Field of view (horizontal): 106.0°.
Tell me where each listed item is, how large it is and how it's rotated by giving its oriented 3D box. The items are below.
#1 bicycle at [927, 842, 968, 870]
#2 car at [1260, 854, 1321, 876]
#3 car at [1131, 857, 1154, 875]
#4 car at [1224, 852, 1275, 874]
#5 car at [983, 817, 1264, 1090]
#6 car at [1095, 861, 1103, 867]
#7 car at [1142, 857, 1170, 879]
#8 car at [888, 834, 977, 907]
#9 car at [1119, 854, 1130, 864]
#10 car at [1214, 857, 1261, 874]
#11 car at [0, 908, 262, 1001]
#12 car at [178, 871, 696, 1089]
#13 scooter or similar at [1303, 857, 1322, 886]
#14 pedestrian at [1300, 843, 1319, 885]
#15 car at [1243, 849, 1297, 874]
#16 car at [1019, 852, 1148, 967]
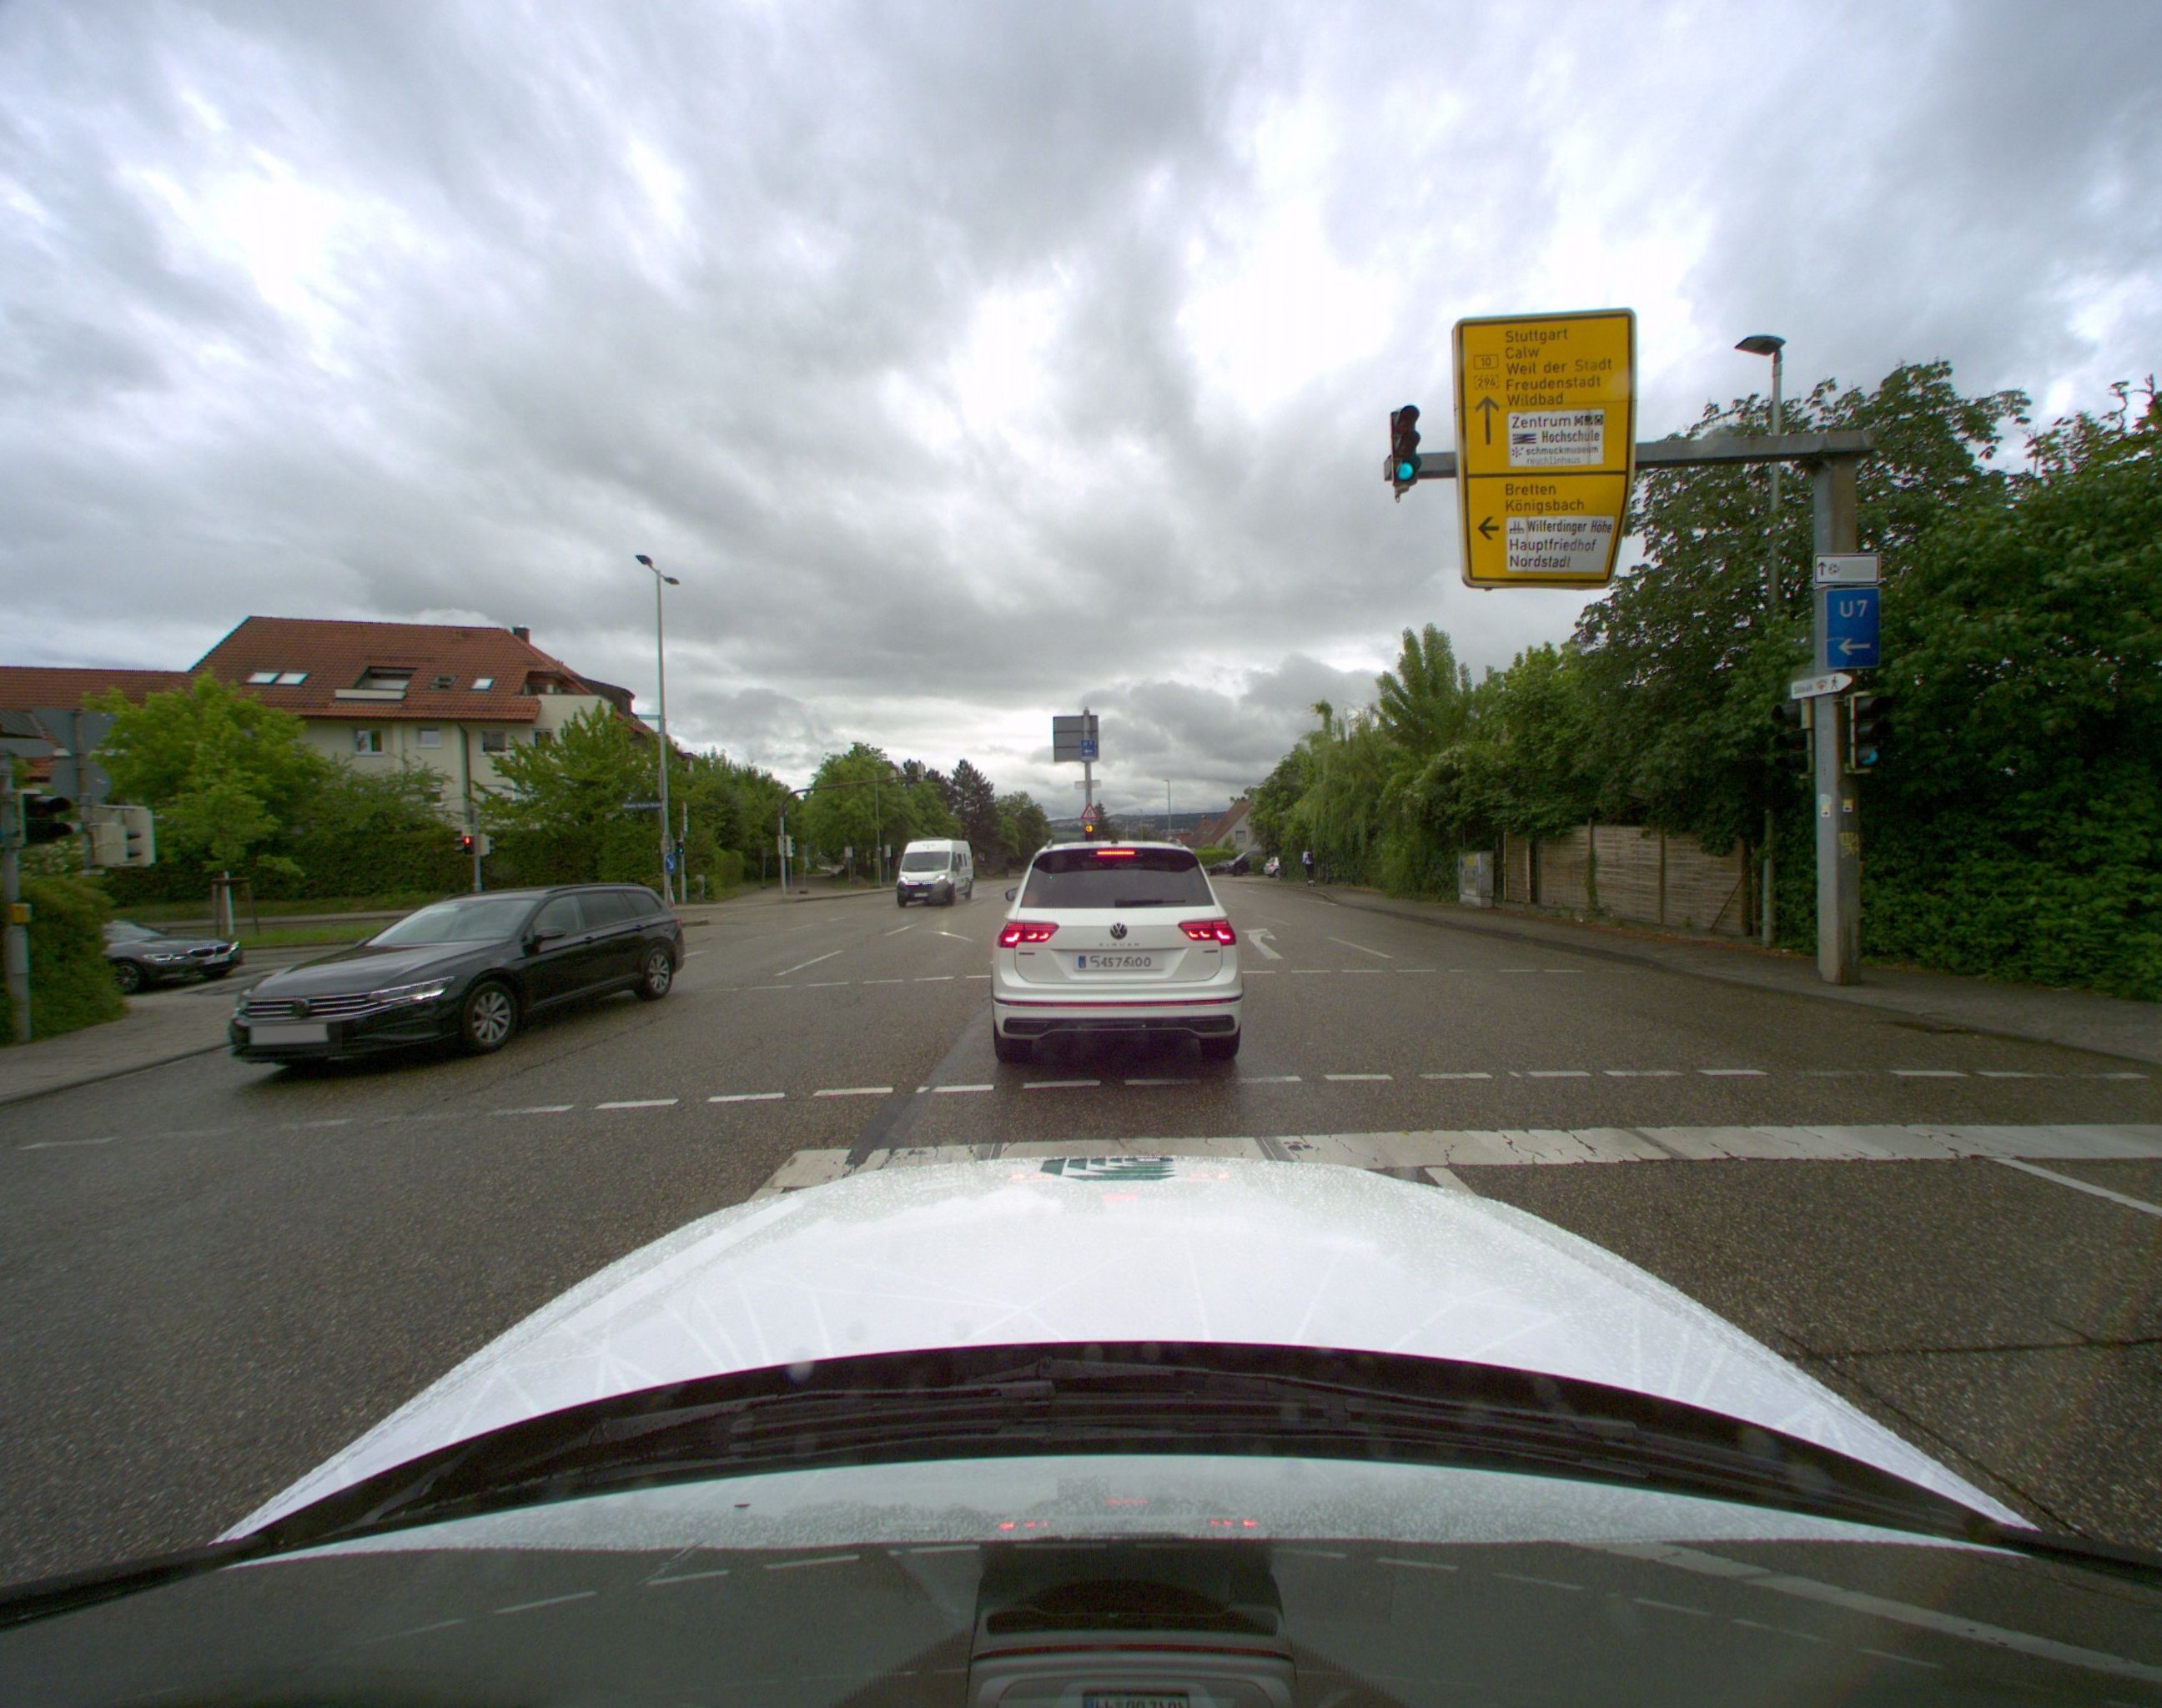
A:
[{"bbox_3d":[-5.805,0.075,35.455,1.631,1.126,0.468,-3,0,0],"label":"bicycle"},{"bbox_3d":[14.448,0.751,56.234,3.709,1.395,1.725,-2,-2,-6],"label":"car"},{"bbox_3d":[5.088,0.970,67.927,1.659,1.427,4.306,-2,0,1],"label":"car"},{"bbox_3d":[13.243,0.694,64.029,3.618,1.626,1.790,-1,0,-3],"label":"car"},{"bbox_3d":[0.313,0.637,7.380,1.757,1.696,4.273,-2,0,1],"label":"car"},{"bbox_3d":[4.543,2.461,201.315,1.843,1.574,4.002,-2,0,2],"label":"car"},{"bbox_3d":[5.017,0.946,54.855,1.619,1.403,3.691,0,0,1],"label":"car"},{"bbox_3d":[-5.732,0.598,32.292,2.289,2.528,5.774,-3,0,1],"label":"car"},{"bbox_3d":[7.772,0.874,145.891,1.843,1.574,4.002,-2,0,2],"label":"car"},{"bbox_3d":[13.193,0.984,68.919,3.675,1.370,1.518,-1,-2,0],"label":"car"},{"bbox_3d":[-19.832,2.027,16.471,4.413,1.393,1.773,-4,1,-5],"label":"car"},{"bbox_3d":[-6.080,1.032,8.585,1.770,1.502,4.472,-4,0,1],"label":"car"},{"bbox_3d":[11.235,0.833,39.619,0.460,1.361,1.384,-1,0,-2],"label":"scooter or similar"},{"bbox_3d":[11.193,0.499,39.842,0.654,2.002,0.717,-1,-1,-2],"label":"pedestrian"},{"bbox_3d":[14.271,0.536,61.588,3.618,1.746,1.707,-2,1,-2],"label":"car"},{"bbox_3d":[0.117,0.783,13.369,1.791,1.589,3.928,-1,0,2],"label":"car"}]
